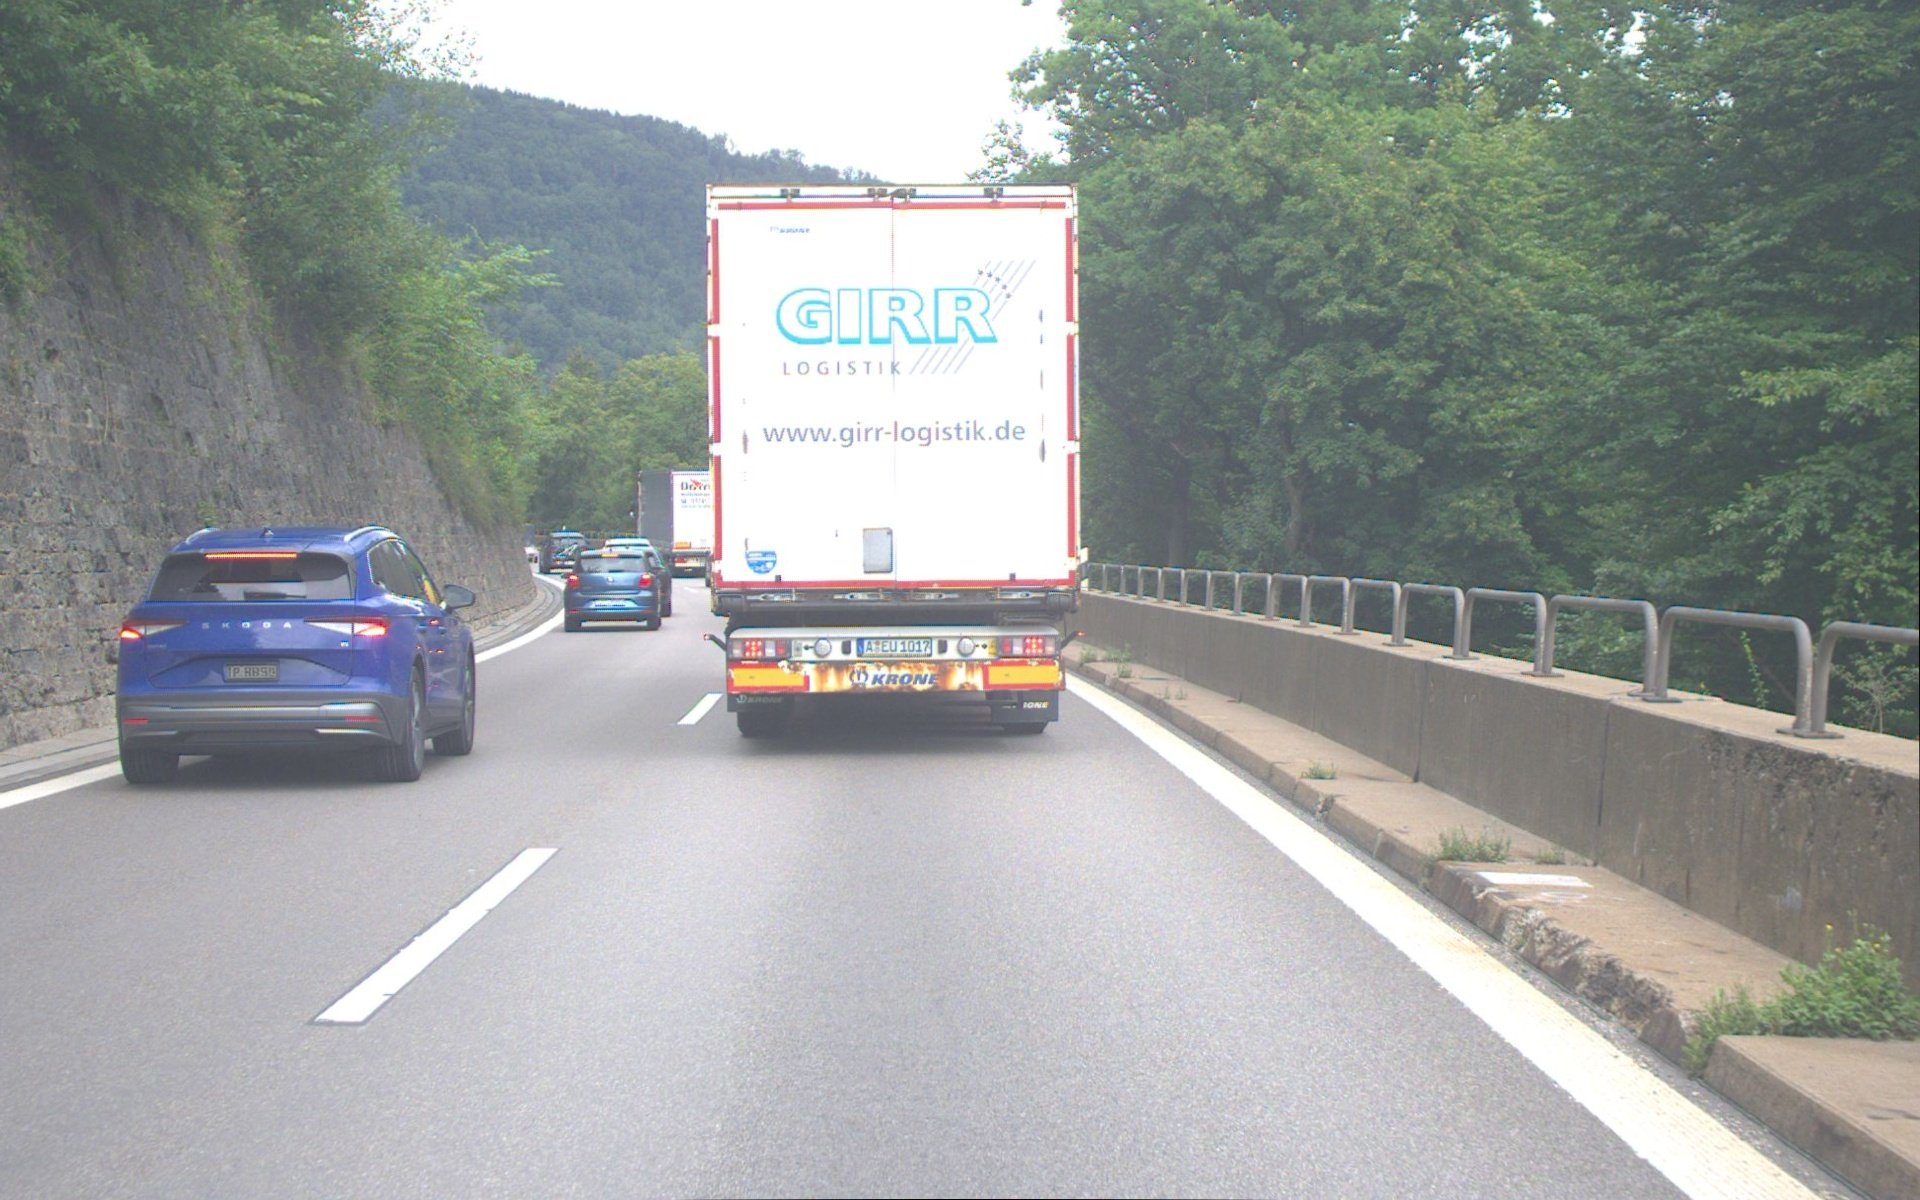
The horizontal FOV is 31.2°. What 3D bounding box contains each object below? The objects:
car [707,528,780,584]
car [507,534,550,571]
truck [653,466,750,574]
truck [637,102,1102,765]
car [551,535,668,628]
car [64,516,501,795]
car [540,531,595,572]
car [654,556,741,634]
[{"bbox_3d":[-6.752,-1.390,106.775,2.060,1.648,4.001,-1,1,-6],"label":"car"},{"bbox_3d":[-20.855,-2.300,166.049,1.745,1.581,4.001,6,0,-10],"label":"car"},{"bbox_3d":[-9.810,-3.012,129.432,2.633,3.844,12.362,-1,1,-9],"label":"truck"},{"bbox_3d":[-0.787,-1.309,30.935,3.084,4.448,15.157,-1,1,-1],"label":"truck"},{"bbox_3d":[-6.257,-0.365,61.623,1.993,1.590,4.354,0,1,-5],"label":"car"},{"bbox_3d":[-4.371,0.295,22.989,1.993,1.626,5.009,-1,1,-1],"label":"car"},{"bbox_3d":[-15.497,-1.917,135.453,1.896,1.545,4.251,0,1,-10],"label":"car"},{"bbox_3d":[-5.456,-0.112,71.486,1.745,1.581,4.001,0,0,-4],"label":"car"}]
